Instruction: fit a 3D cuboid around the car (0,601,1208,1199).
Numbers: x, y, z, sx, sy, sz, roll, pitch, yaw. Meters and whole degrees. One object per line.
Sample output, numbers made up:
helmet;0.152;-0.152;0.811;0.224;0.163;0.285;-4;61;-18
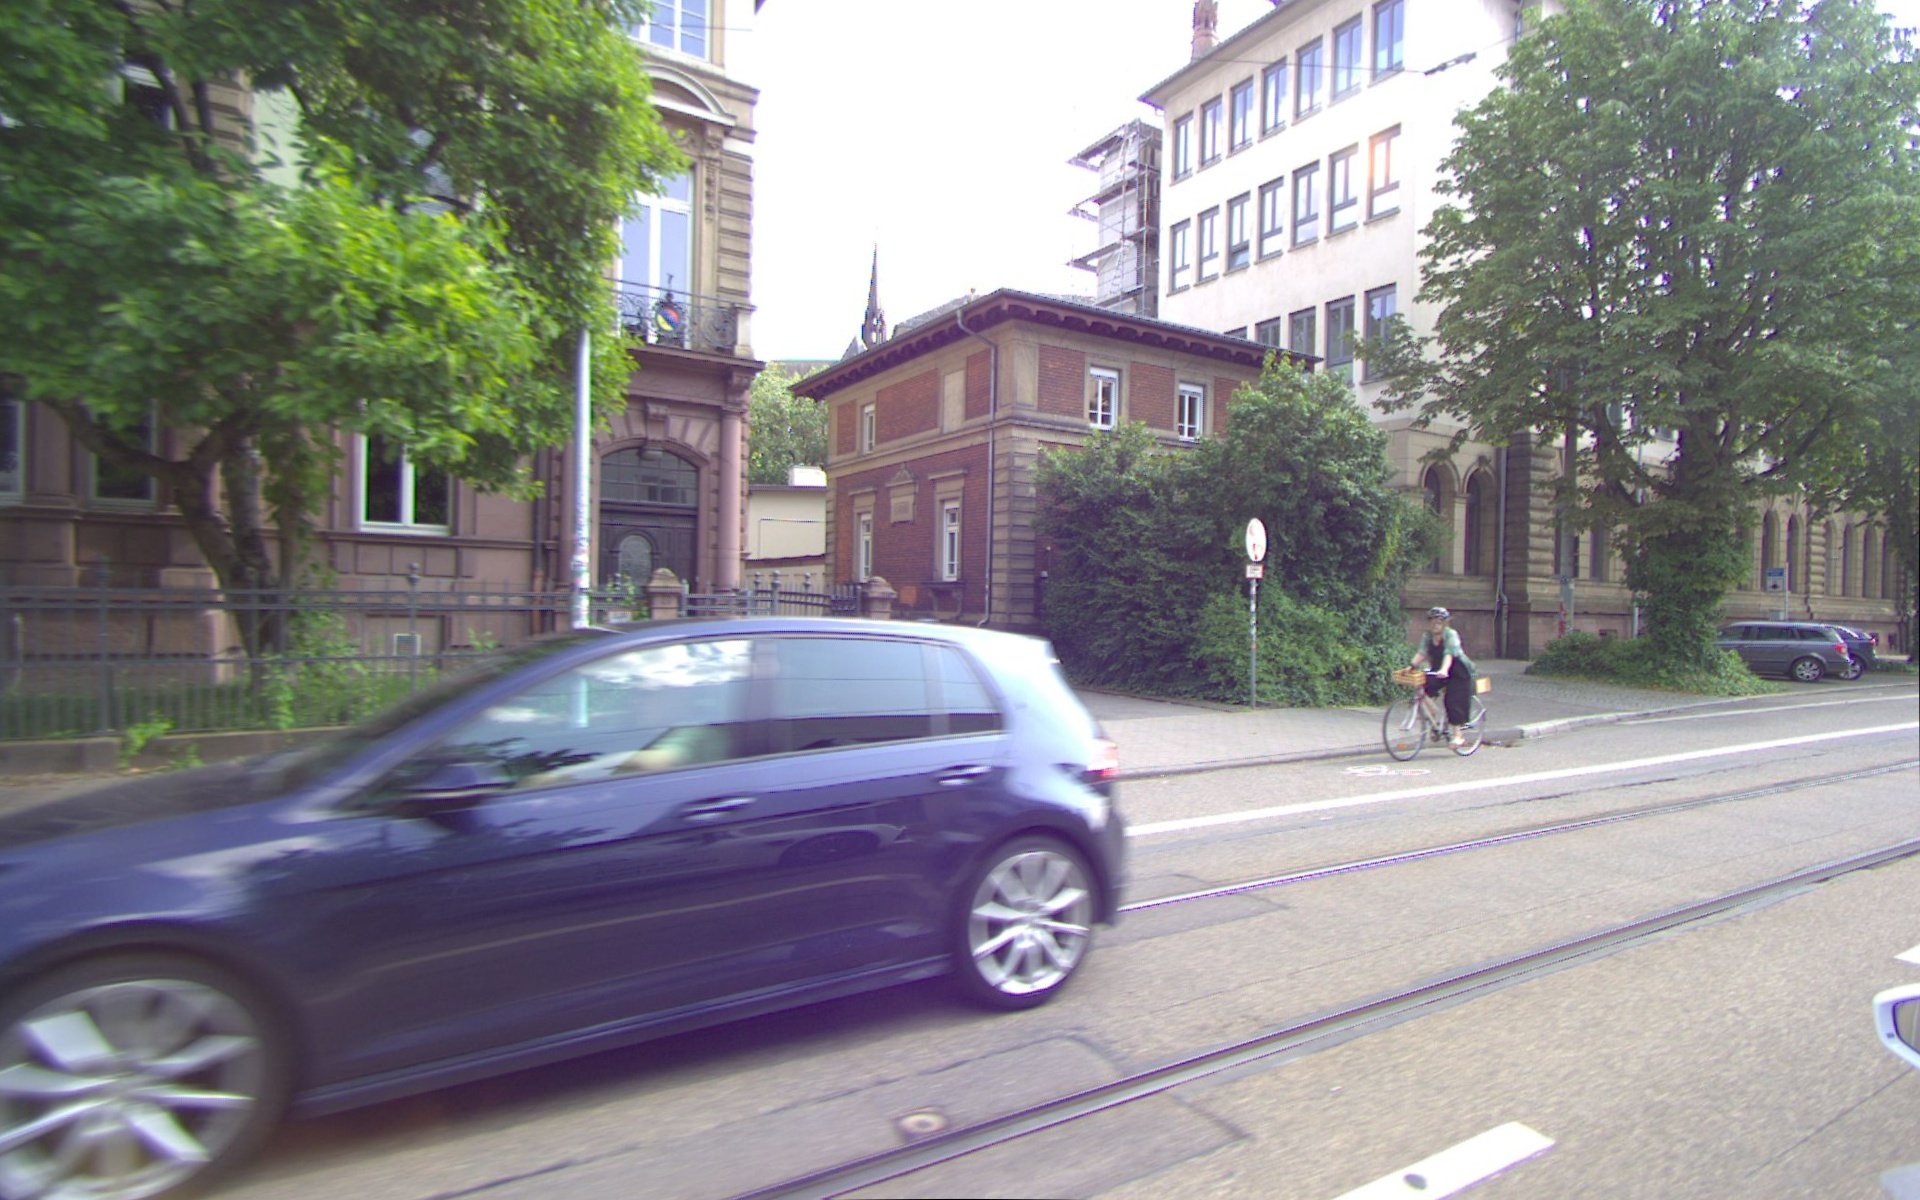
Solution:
car;-1.078;0.751;3.753;3.887;1.420;1.679;1;-1;-32

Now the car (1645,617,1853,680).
car;20.963;1.244;26.928;4.167;1.466;1.789;1;0;32

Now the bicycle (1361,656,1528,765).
bicycle;5.501;1.219;11.378;1.998;1.111;0.600;0;-5;-29

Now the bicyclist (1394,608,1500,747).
bicyclist;5.535;0.876;11.429;0.871;1.511;0.597;0;-5;-29

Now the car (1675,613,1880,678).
car;23.062;1.228;28.577;4.164;1.571;1.924;2;1;28
